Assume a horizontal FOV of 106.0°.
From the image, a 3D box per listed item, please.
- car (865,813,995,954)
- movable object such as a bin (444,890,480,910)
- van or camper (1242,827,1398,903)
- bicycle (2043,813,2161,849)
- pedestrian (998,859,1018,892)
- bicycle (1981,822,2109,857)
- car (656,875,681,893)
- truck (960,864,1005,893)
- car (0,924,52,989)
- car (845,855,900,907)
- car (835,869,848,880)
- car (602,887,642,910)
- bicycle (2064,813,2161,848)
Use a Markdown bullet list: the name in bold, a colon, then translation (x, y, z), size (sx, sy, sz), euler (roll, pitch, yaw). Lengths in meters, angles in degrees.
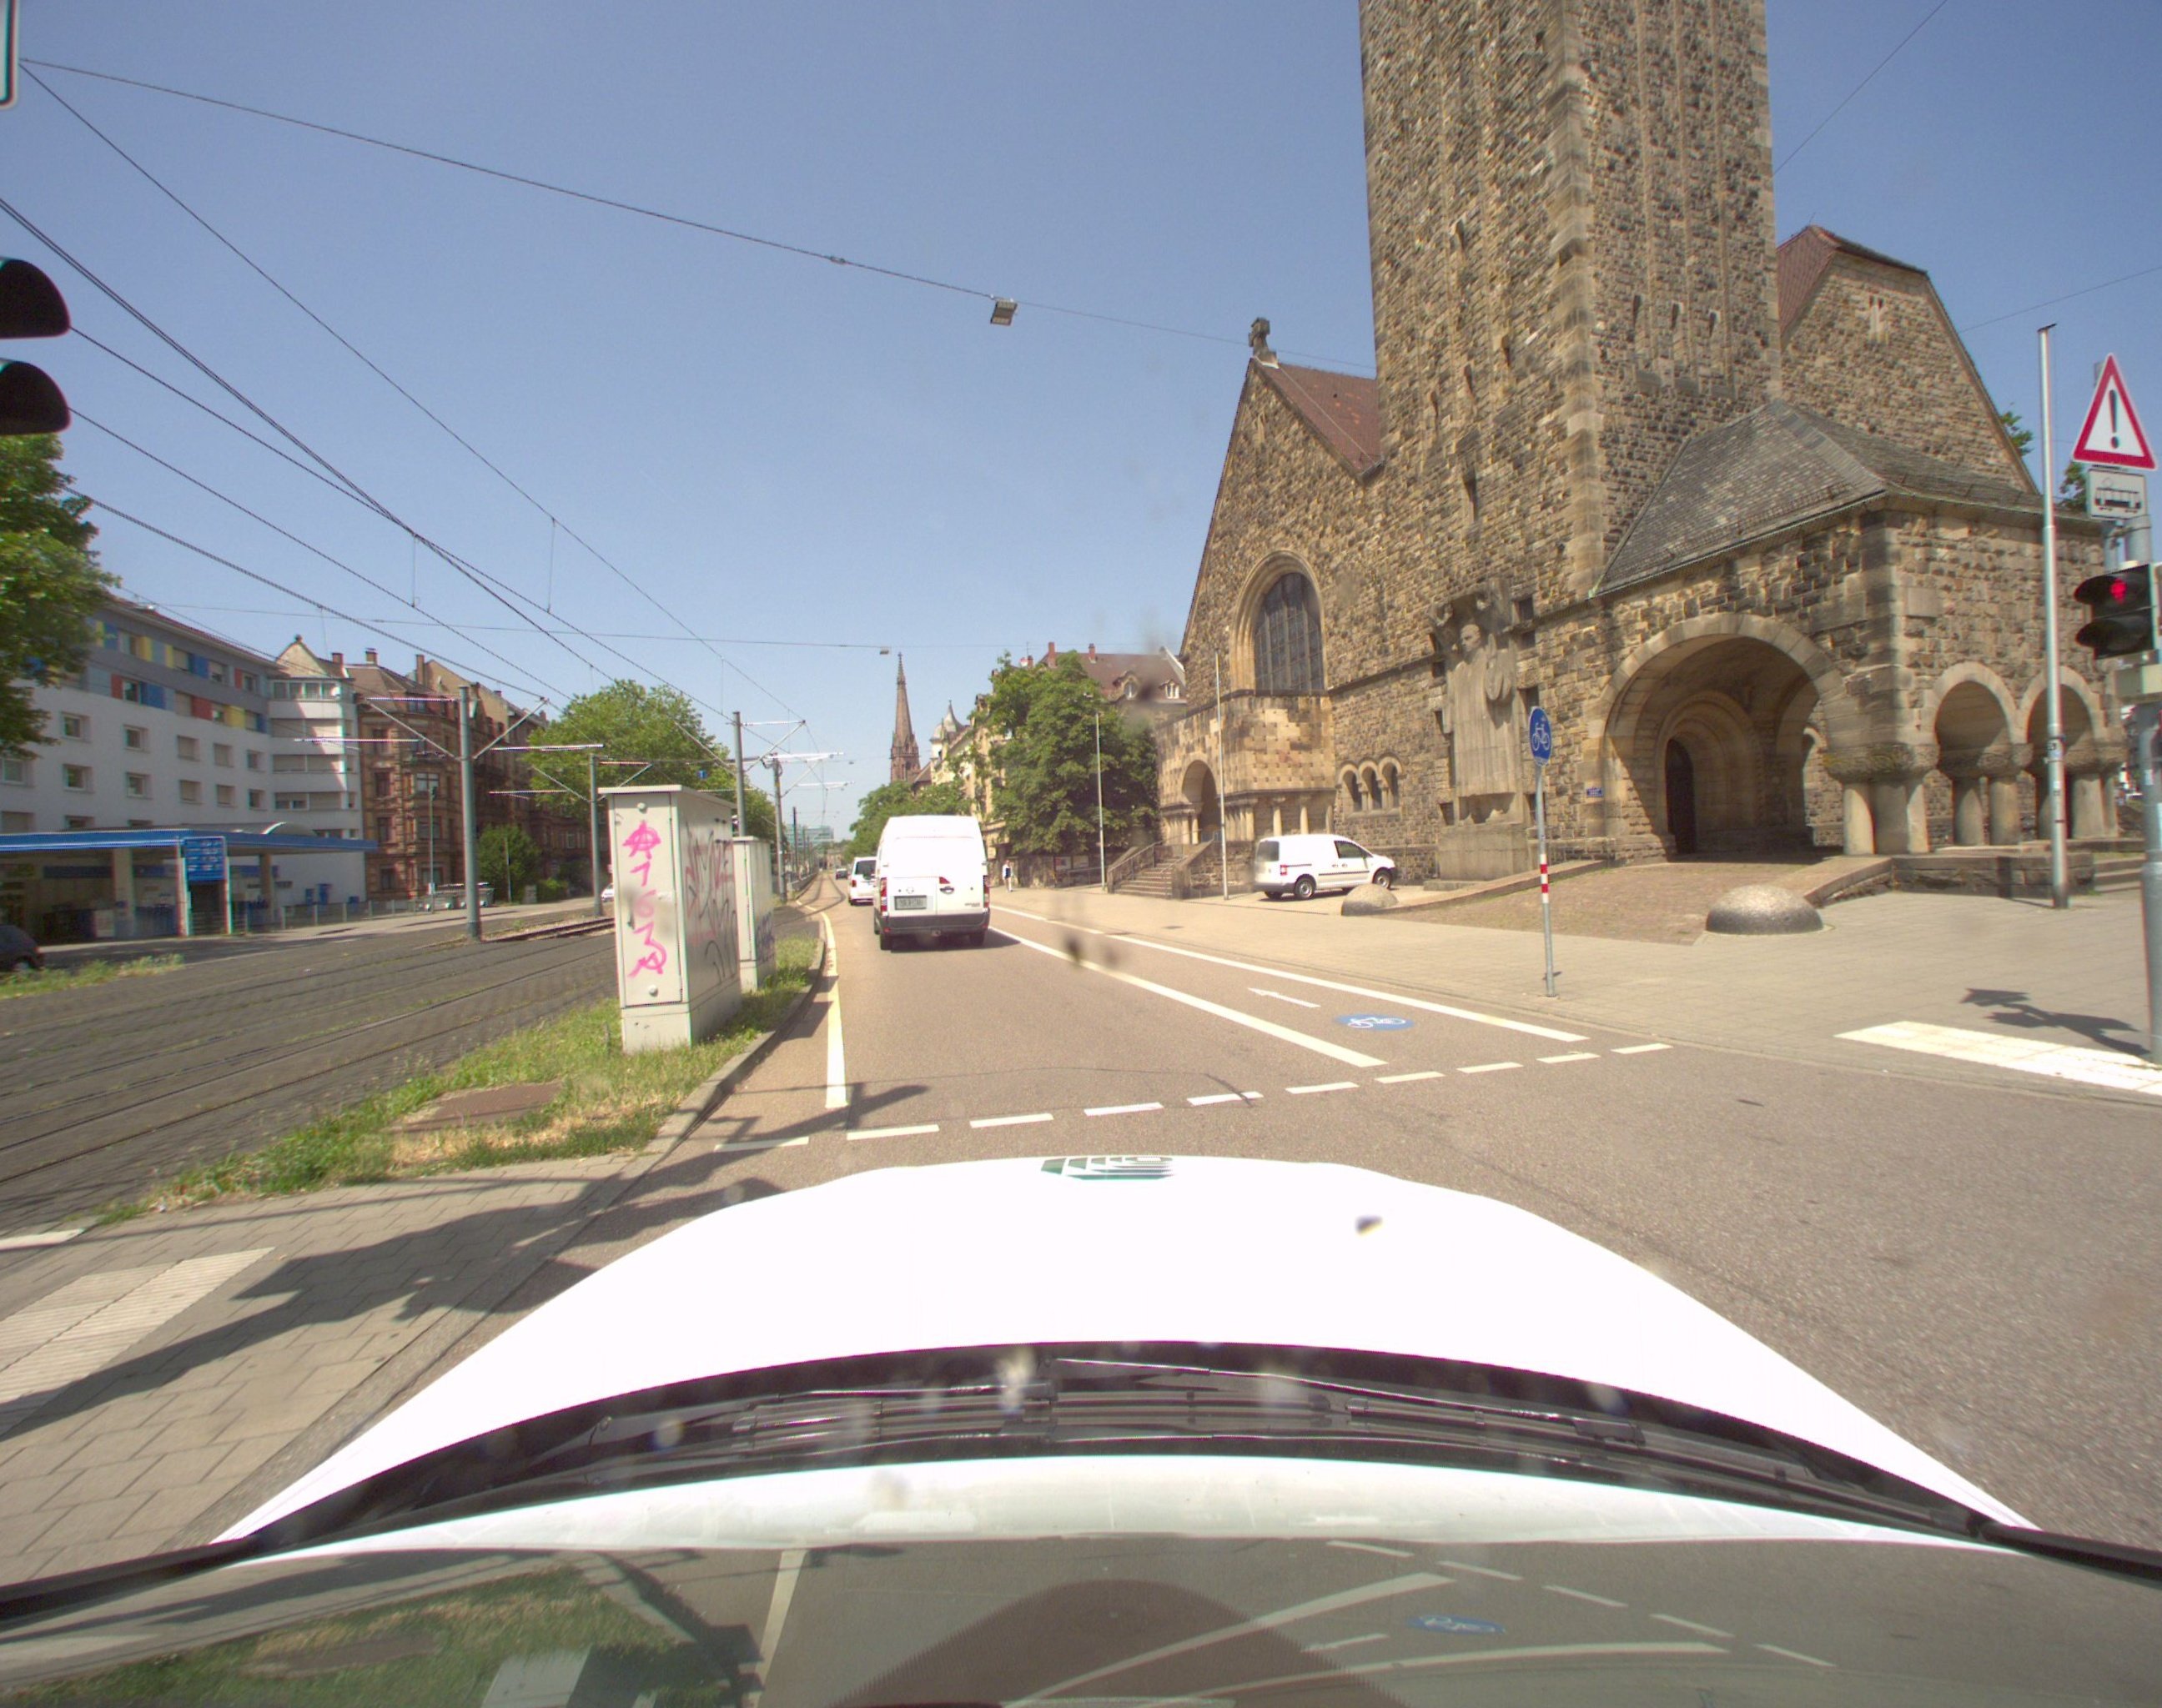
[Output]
- **car**: translation (-3.348, 0.553, 17.149), size (2.122, 2.459, 5.025), euler (-2, -1, -16)
- **movable object such as a bin**: translation (-47.627, 3.536, 62.723), size (1.788, 1.385, 1.460), euler (-3, 0, -20)
- **van or camper**: translation (6.995, 0.283, 23.906), size (4.000, 1.825, 1.791), euler (-5, 1, -20)
- **bicycle**: translation (32.278, -0.694, 25.626), size (0.705, 1.011, 2.485), euler (-3, 0, -16)
- **pedestrian**: translation (-3.724, 1.090, 41.374), size (0.795, 1.650, 0.961), euler (-2, -1, -16)
- **bicycle**: translation (29.976, -0.430, 25.406), size (0.705, 1.011, 2.485), euler (-3, 0, -16)
- **car**: translation (-46.616, 3.337, 92.044), size (2.001, 1.904, 4.683), euler (-2, 0, -22)
- **truck**: translation (-5.836, 1.412, 47.841), size (1.794, 1.526, 4.438), euler (-2, 0, -17)
- **car**: translation (-25.792, 2.484, 18.180), size (1.601, 1.420, 3.758), euler (-5, 0, -18)
- **car**: translation (-8.830, 1.101, 34.265), size (1.922, 1.944, 4.237), euler (-2, 0, -18)
- **car**: translation (-38.035, 3.265, 129.387), size (1.755, 1.539, 3.735), euler (-2, 0, -18)
- **car**: translation (-38.304, 3.699, 68.008), size (1.852, 1.625, 4.575), euler (-4, 0, -17)
- **bicycle**: translation (33.478, -0.757, 26.068), size (0.705, 1.011, 2.485), euler (-3, 0, -16)
